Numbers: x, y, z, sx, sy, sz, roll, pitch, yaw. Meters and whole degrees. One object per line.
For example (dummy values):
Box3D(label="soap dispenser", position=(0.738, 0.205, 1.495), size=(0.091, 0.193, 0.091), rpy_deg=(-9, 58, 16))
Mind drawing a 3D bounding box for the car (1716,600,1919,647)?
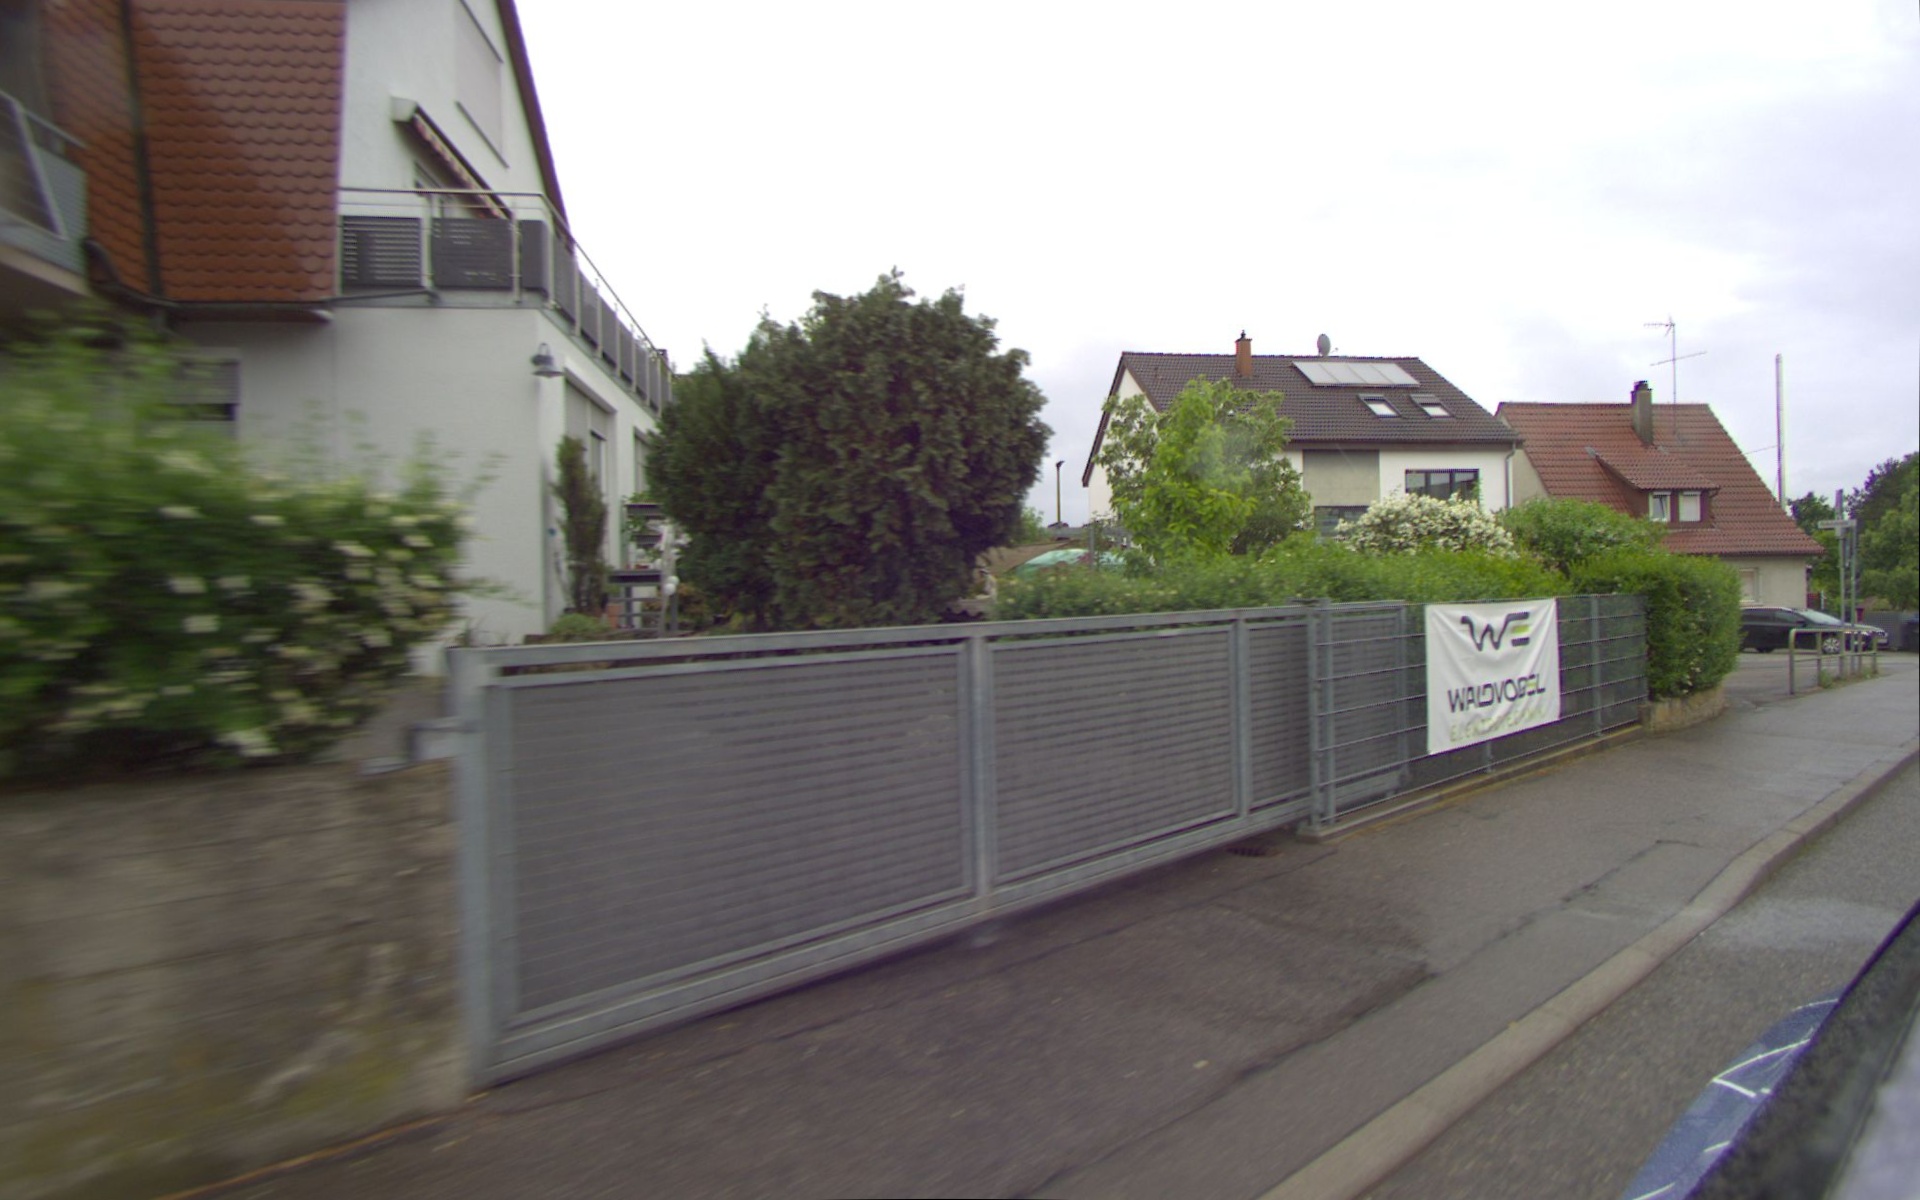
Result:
Box3D(label="car", position=(27.433, 0.783, 32.593), size=(1.958, 1.402, 4.580), rpy_deg=(1, -2, -21))

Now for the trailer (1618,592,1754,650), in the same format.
Box3D(label="trailer", position=(24.425, 0.690, 34.205), size=(1.653, 1.821, 3.469), rpy_deg=(-1, -1, -12))
